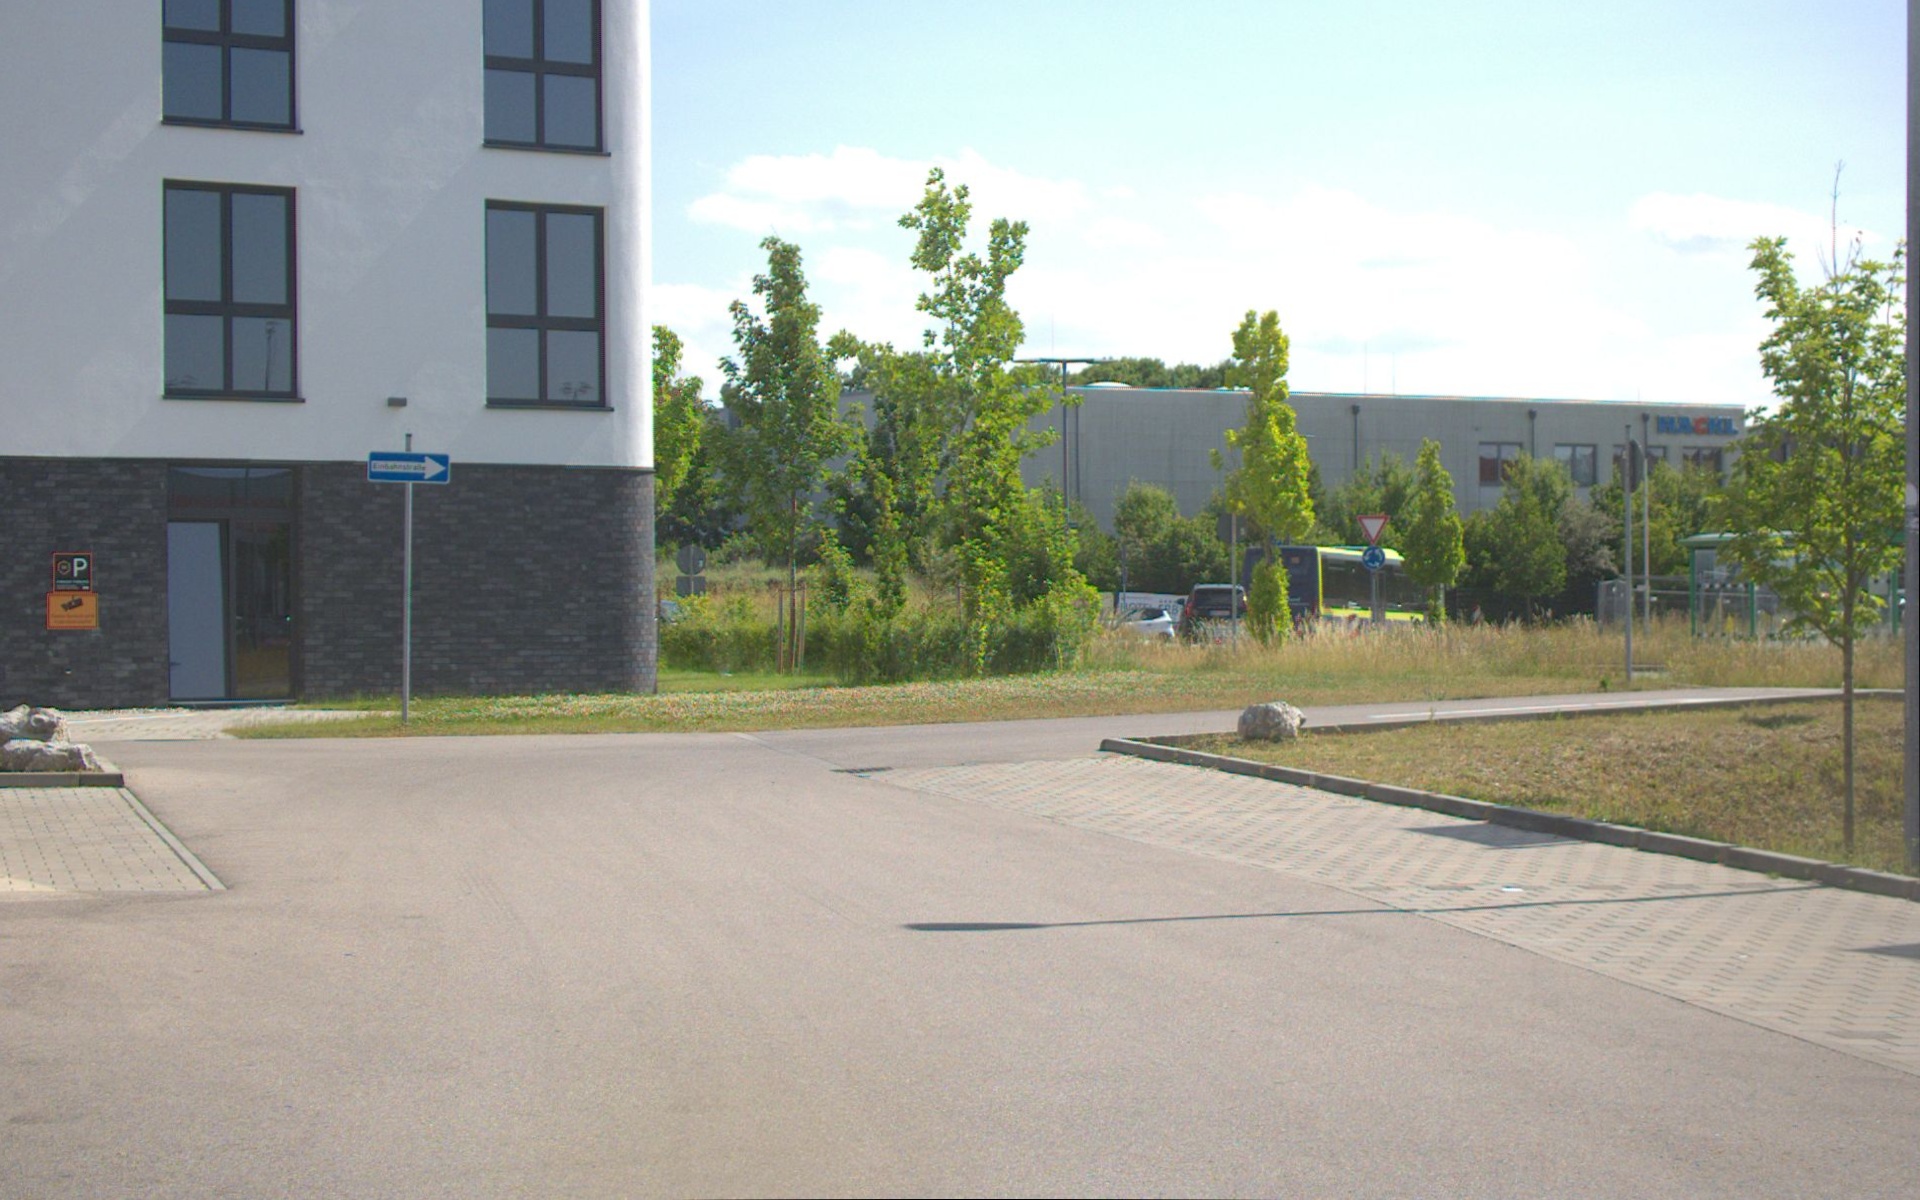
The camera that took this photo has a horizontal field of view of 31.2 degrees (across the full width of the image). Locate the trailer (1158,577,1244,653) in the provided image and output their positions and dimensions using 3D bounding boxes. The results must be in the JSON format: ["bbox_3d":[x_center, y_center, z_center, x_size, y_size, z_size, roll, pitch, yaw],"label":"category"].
[{"bbox_3d":[6.041,0.356,85.882,1.823,1.853,3.999,0,0,9],"label":"trailer"}]

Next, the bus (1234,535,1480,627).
[{"bbox_3d":[12.561,-0.653,107.448,2.577,2.726,11.546,0,1,34],"label":"bus"}]

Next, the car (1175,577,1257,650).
[{"bbox_3d":[6.708,0.335,89.817,1.823,1.853,3.999,0,0,9],"label":"car"}]
